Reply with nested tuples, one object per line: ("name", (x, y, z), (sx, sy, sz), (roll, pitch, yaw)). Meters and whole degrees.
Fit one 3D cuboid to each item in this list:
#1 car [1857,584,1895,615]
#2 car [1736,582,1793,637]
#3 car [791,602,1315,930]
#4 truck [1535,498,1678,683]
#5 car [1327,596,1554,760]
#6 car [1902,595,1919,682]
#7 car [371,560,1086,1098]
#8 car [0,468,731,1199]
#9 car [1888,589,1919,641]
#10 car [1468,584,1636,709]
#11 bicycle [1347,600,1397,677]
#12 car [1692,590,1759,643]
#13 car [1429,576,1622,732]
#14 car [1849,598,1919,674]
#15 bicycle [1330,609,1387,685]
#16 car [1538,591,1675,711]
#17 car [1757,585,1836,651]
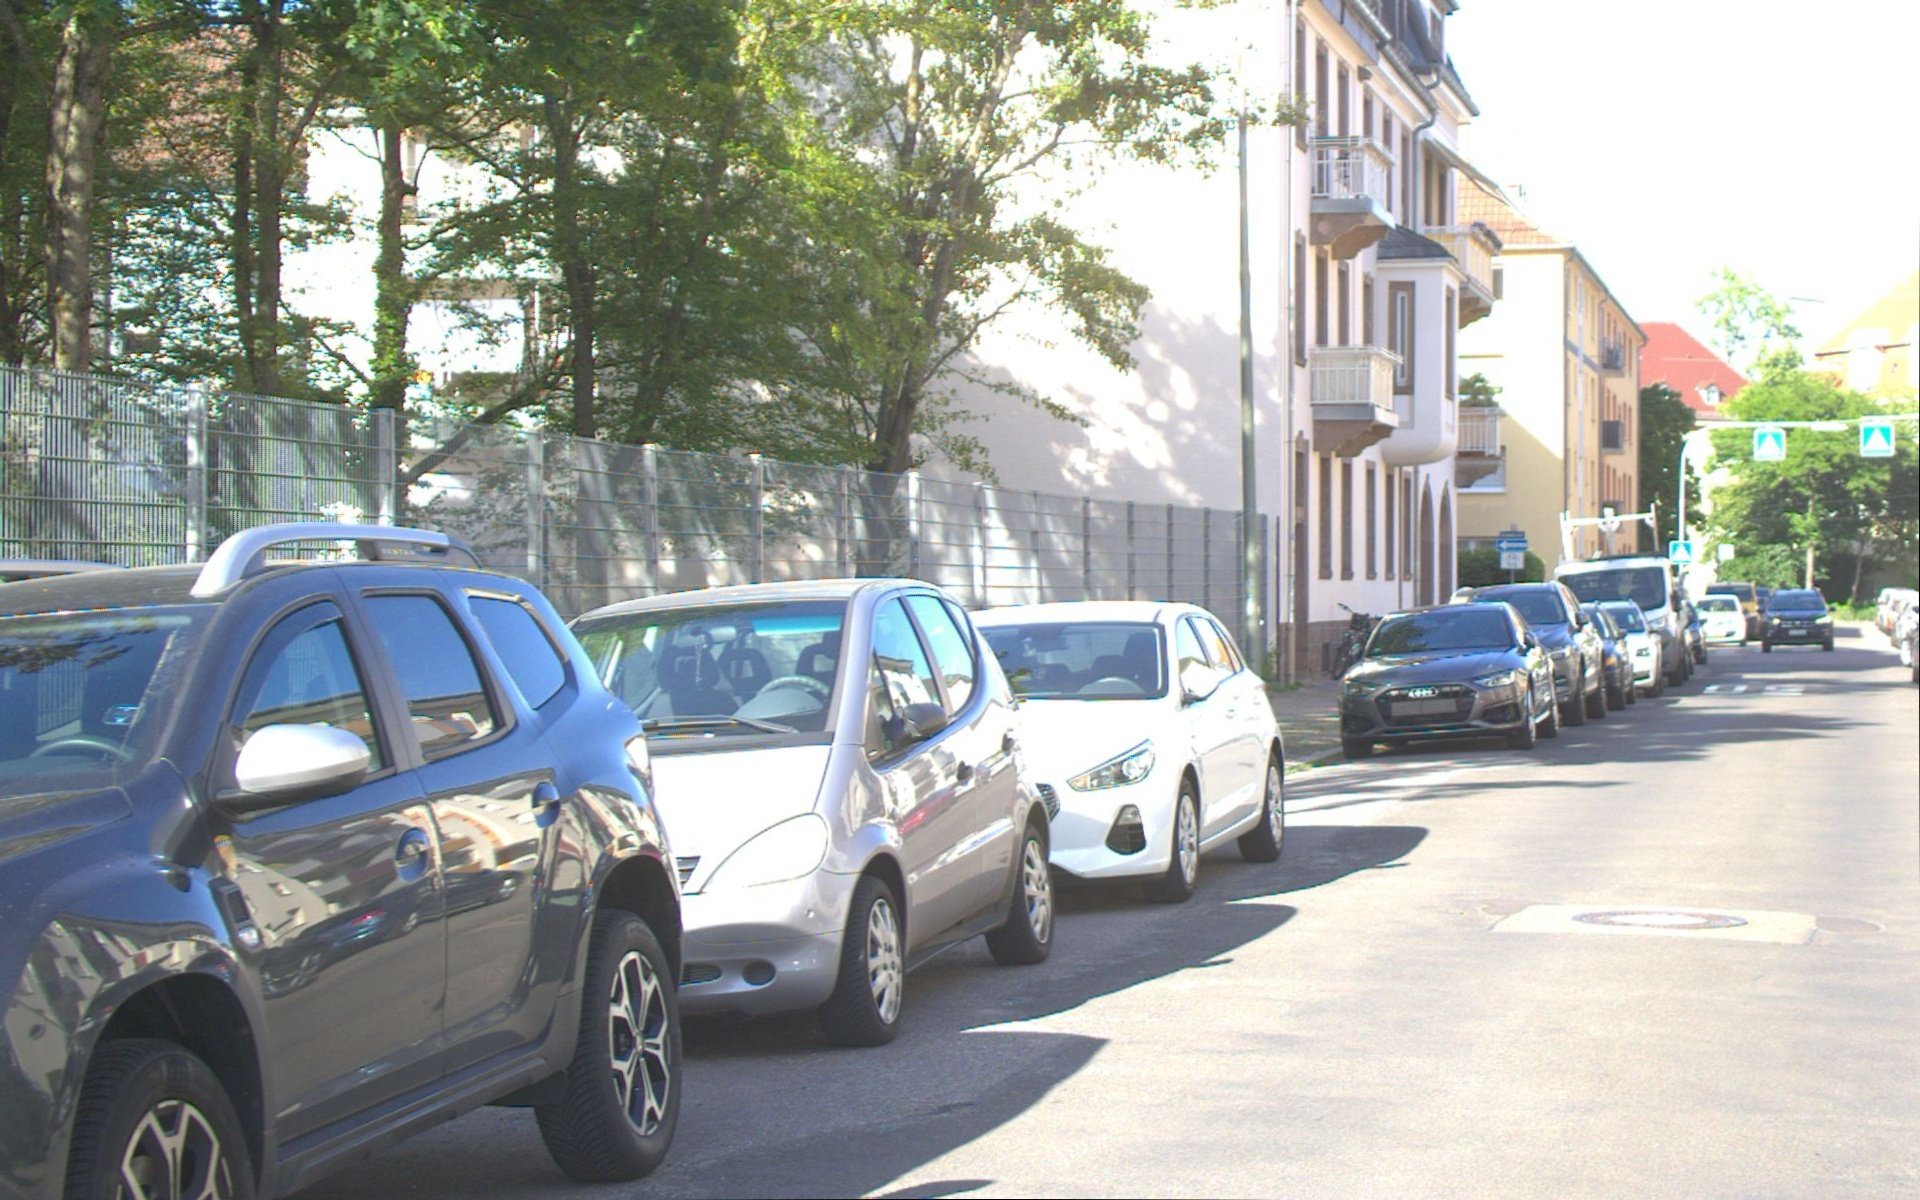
("car", (43.002, -0.014, 161.493), (1.638, 1.436, 3.417), (0, 0, 14))
("car", (26.576, 0.291, 113.516), (1.698, 1.773, 4.096), (0, 0, 15))
("car", (0.609, 0.764, 17.561), (1.795, 1.440, 4.117), (-2, 0, 14))
("truck", (11.171, -0.143, 59.110), (2.260, 2.976, 7.272), (0, 0, 12))
("car", (4.812, 0.726, 33.941), (1.795, 1.466, 4.499), (-2, 0, 13))
("car", (17.386, 0.660, 60.030), (1.793, 1.466, 4.336), (0, 0, 15))
("car", (-0.691, 0.738, 12.659), (1.564, 1.638, 3.613), (-4, -1, 13))
("car", (-1.957, 0.658, 7.469), (1.713, 1.658, 4.162), (-3, -1, 13))
("car", (27.298, 0.413, 97.243), (1.846, 1.436, 3.417), (0, 0, 12))
("car", (7.982, 0.606, 46.086), (1.793, 1.557, 4.456), (1, 0, 15))
("bicycle", (7.191, 0.663, 59.925), (0.570, 1.275, 2.339), (0, 1, 14))
("car", (22.981, 0.490, 103.141), (1.793, 1.475, 4.096), (-1, 1, 15))
("car", (6.671, 0.600, 40.180), (1.880, 1.658, 4.928), (-2, 0, 13))
("car", (19.628, 0.748, 71.199), (1.854, 1.518, 4.775), (1, 0, 9))
("bicycle", (6.621, 0.763, 57.054), (0.630, 1.199, 2.339), (0, 1, 14))
("car", (9.840, 0.740, 52.106), (1.793, 1.536, 4.639), (-5, 0, 12))
("car", (21.171, 0.435, 86.940), (1.823, 1.628, 4.253), (0, 0, 15))
